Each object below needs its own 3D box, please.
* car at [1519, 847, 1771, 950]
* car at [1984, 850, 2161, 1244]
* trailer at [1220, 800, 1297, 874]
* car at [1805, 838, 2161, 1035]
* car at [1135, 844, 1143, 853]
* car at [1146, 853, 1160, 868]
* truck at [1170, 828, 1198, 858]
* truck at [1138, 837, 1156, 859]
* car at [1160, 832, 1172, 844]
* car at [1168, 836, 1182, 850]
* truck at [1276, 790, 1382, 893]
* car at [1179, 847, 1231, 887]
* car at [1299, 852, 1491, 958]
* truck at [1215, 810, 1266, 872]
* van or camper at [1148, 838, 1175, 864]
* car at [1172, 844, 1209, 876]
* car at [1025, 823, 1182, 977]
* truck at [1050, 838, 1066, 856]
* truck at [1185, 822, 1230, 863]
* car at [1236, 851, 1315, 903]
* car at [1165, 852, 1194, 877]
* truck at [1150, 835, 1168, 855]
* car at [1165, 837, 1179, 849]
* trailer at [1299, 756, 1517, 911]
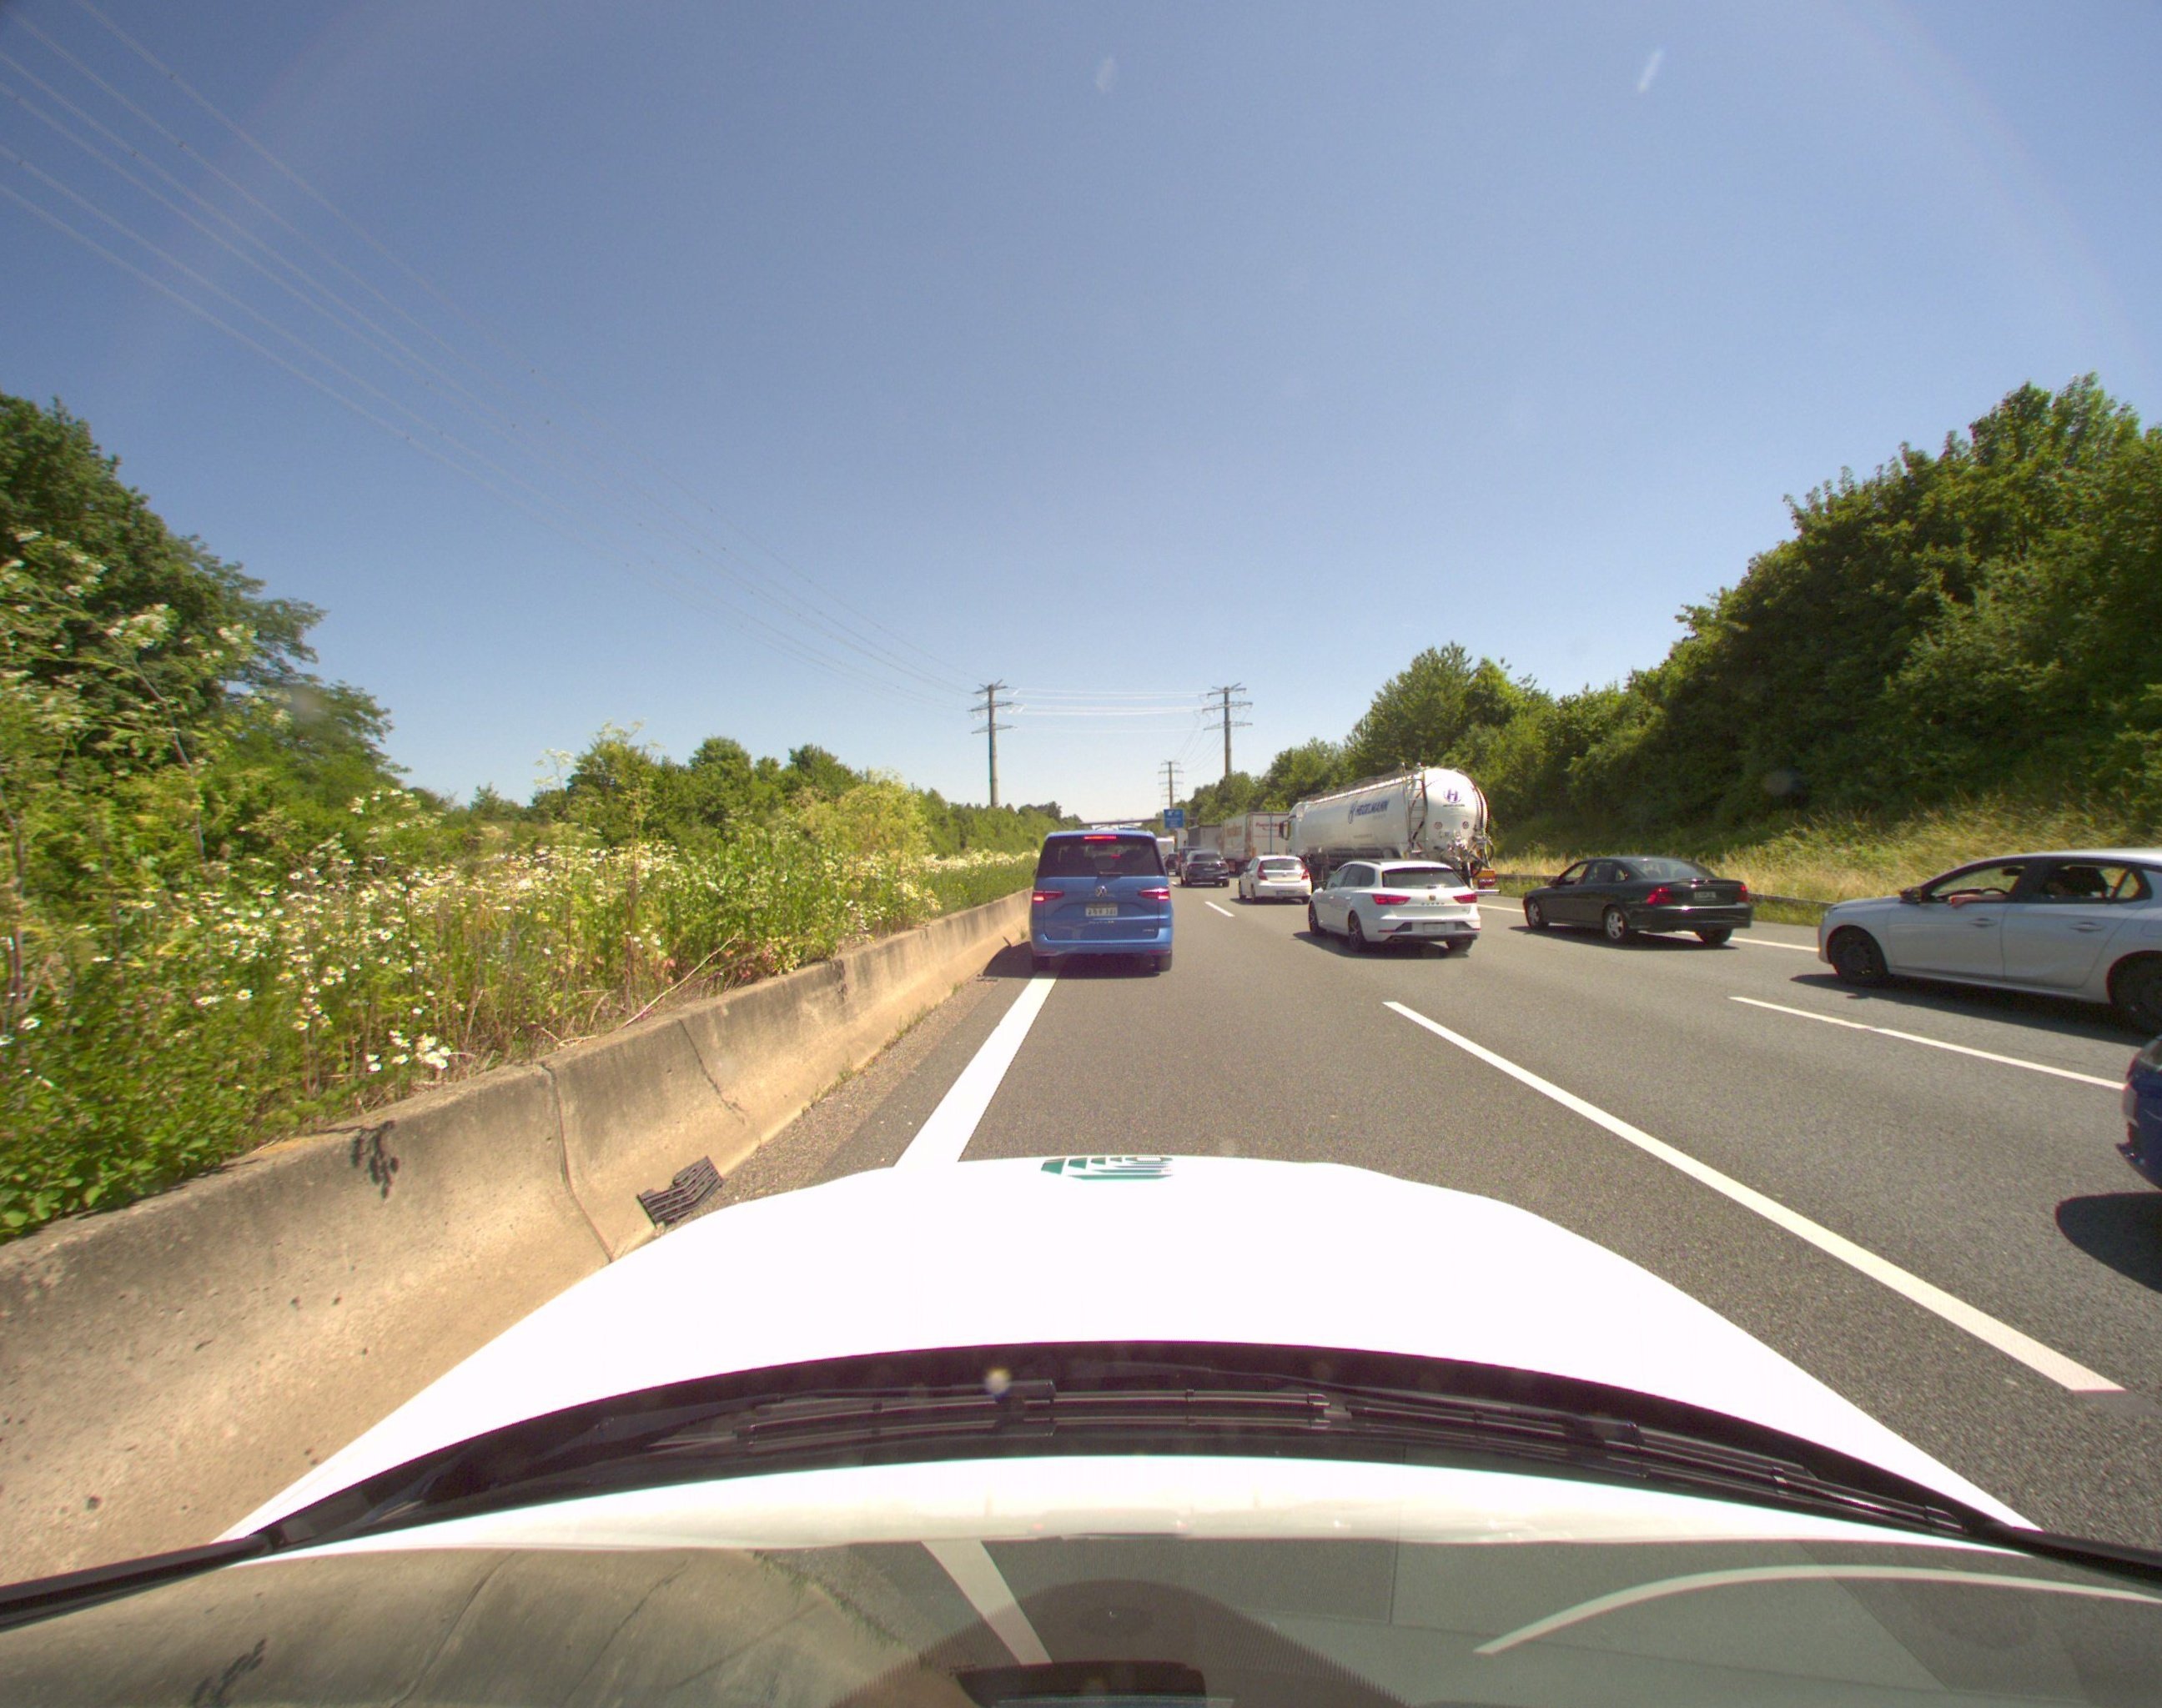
[{"bbox_3d":[9.304,0.684,13.890,1.634,1.416,3.992,-3,-1,3],"label":"car"},{"bbox_3d":[4.771,0.641,1.210,1.770,1.416,4.573,-3,-1,1],"label":"car"},{"bbox_3d":[11.895,-1.012,55.835,2.901,4.469,12.160,-2,0,2],"label":"trailer"},{"bbox_3d":[9.035,0.609,7.223,1.724,1.443,4.031,-2,0,2],"label":"car"},{"bbox_3d":[14.780,-1.299,207.817,1.986,2.126,4.002,-2,-1,2],"label":"car"},{"bbox_3d":[10.070,0.956,114.534,1.828,1.998,4.004,-3,-1,4],"label":"car"},{"bbox_3d":[14.286,-1.405,113.933,2.883,3.766,13.356,-2,-1,4],"label":"truck"},{"bbox_3d":[11.742,-1.015,146.329,2.883,3.766,10.149,-2,-1,3],"label":"truck"},{"bbox_3d":[15.787,-2.906,151.766,1.985,2.014,4.003,-2,-1,3],"label":"car"},{"bbox_3d":[15.126,-1.781,131.450,1.985,2.014,4.003,-2,-1,3],"label":"car"},{"bbox_3d":[10.141,-0.456,33.885,2.782,3.836,5.575,-2,0,2],"label":"truck"},{"bbox_3d":[5.818,0.638,38.736,1.991,1.715,4.629,-2,-1,3],"label":"car"},{"bbox_3d":[5.021,0.756,13.706,1.740,1.443,4.317,-2,-1,3],"label":"car"},{"bbox_3d":[12.154,-0.966,62.444,2.901,4.469,5.145,-2,-1,2],"label":"truck"},{"bbox_3d":[9.680,-0.310,98.461,2.944,3.022,7.110,-2,-1,4],"label":"van or camper"},{"bbox_3d":[7.341,0.424,54.828,1.916,1.925,4.236,-3,-1,1],"label":"car"},{"bbox_3d":[0.372,0.572,12.039,1.912,1.886,4.003,0,0,3],"label":"car"},{"bbox_3d":[-5.229,-1.567,187.129,2.900,3.819,11.952,0,0,3],"label":"truck"},{"bbox_3d":[12.711,-1.006,83.353,2.993,3.766,15.726,-2,-1,4],"label":"truck"},{"bbox_3d":[6.125,0.716,26.075,1.809,1.485,4.004,-2,-1,4],"label":"car"},{"bbox_3d":[8.030,0.889,66.678,1.916,1.925,4.236,-3,-1,1],"label":"car"},{"bbox_3d":[18.835,-2.096,196.539,3.552,4.517,10.298,-2,-1,2],"label":"truck"},{"bbox_3d":[15.772,-1.917,141.290,1.985,2.014,4.003,-2,-1,3],"label":"car"},{"bbox_3d":[9.860,-0.495,26.488,2.750,3.845,11.492,-2,0,2],"label":"trailer"}]
